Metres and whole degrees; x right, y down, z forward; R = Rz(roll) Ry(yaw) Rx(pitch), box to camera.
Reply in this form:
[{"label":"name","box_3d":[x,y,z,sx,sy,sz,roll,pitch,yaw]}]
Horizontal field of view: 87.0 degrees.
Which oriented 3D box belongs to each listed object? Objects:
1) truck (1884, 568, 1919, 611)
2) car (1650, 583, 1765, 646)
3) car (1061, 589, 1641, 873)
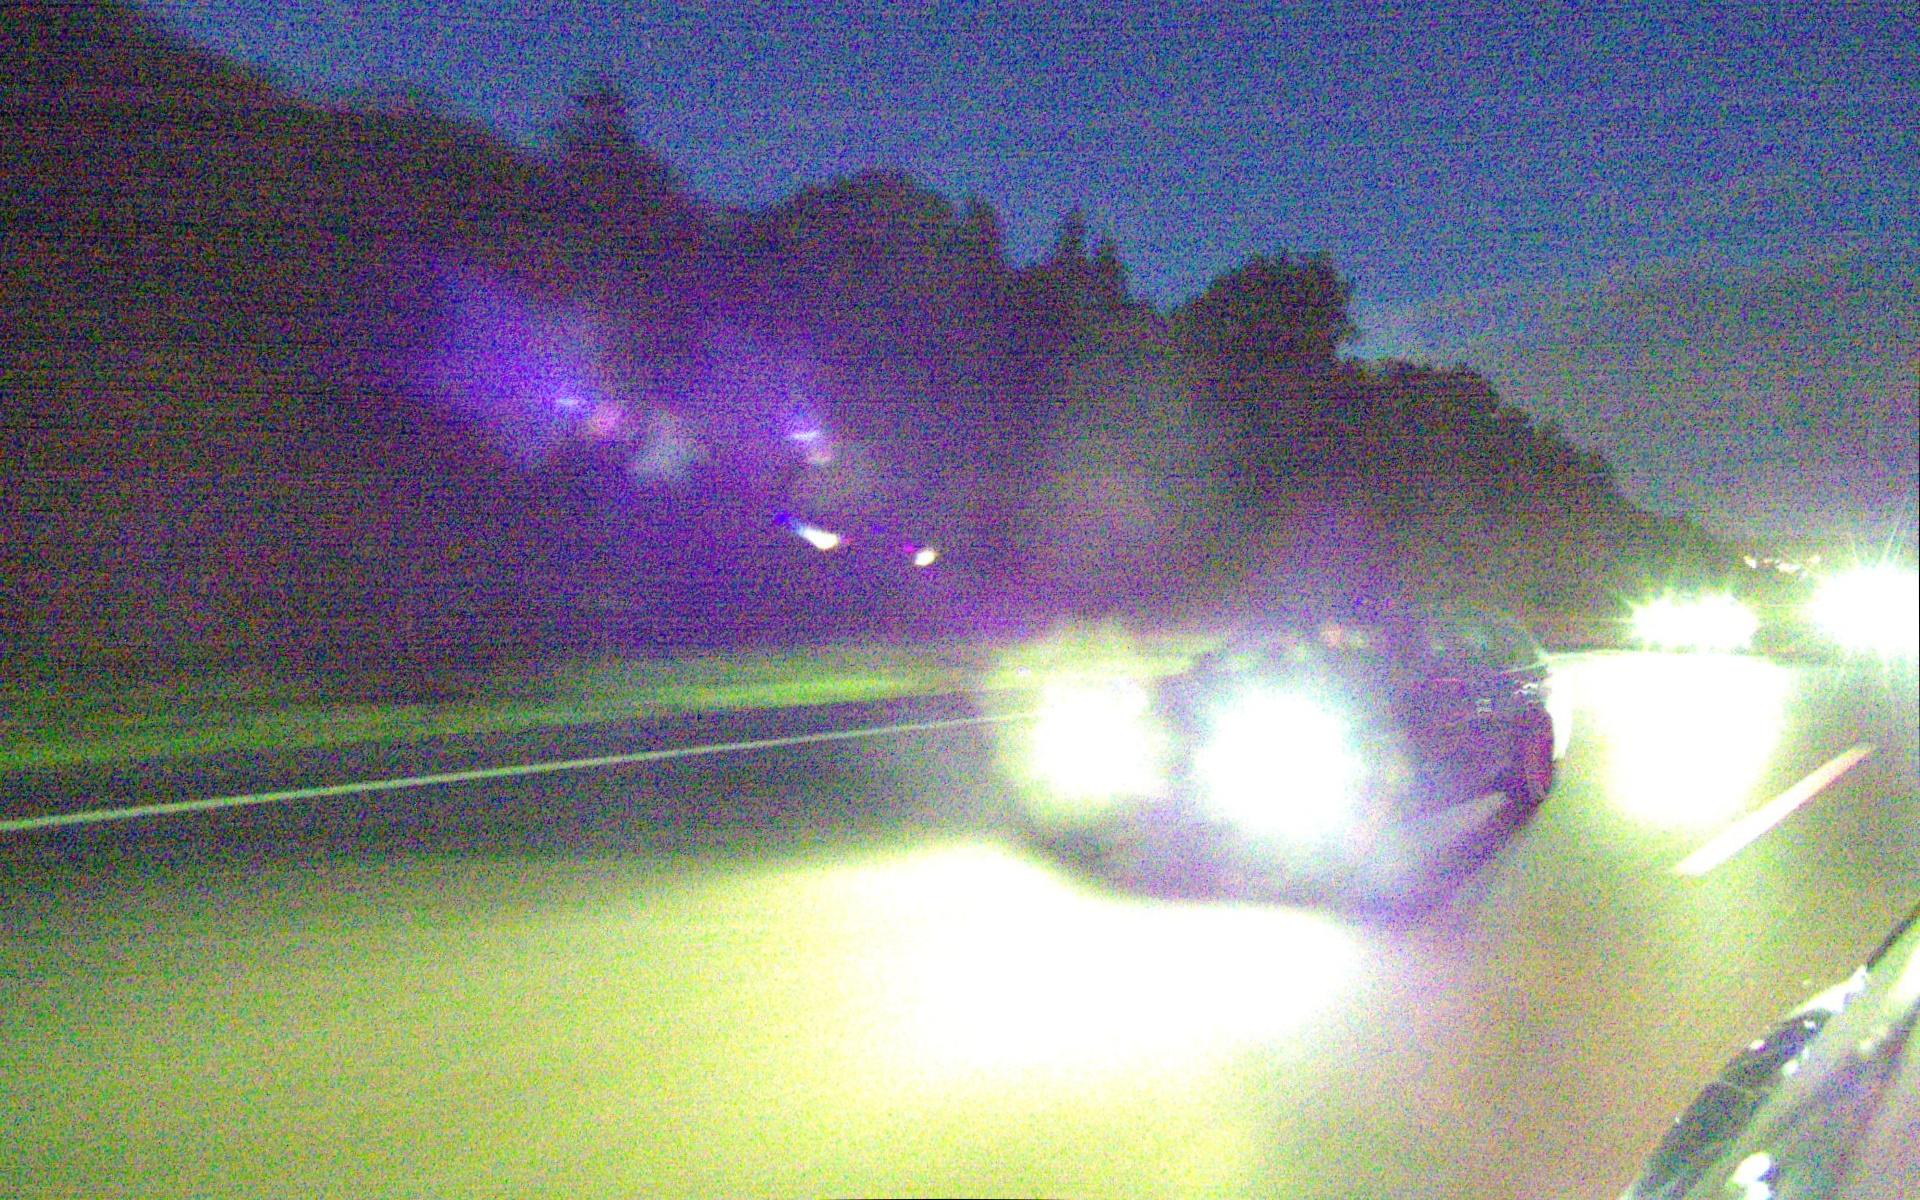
[{"label":"truck","box_3d":[101.482,-1.071,108.566,3.334,4.489,6.889,0,0,41]},{"label":"car","box_3d":[22.497,0.398,30.376,5.082,1.739,1.995,0,0,-44]},{"label":"car","box_3d":[3.121,0.647,7.391,4.980,1.419,1.838,0,0,-41]}]
